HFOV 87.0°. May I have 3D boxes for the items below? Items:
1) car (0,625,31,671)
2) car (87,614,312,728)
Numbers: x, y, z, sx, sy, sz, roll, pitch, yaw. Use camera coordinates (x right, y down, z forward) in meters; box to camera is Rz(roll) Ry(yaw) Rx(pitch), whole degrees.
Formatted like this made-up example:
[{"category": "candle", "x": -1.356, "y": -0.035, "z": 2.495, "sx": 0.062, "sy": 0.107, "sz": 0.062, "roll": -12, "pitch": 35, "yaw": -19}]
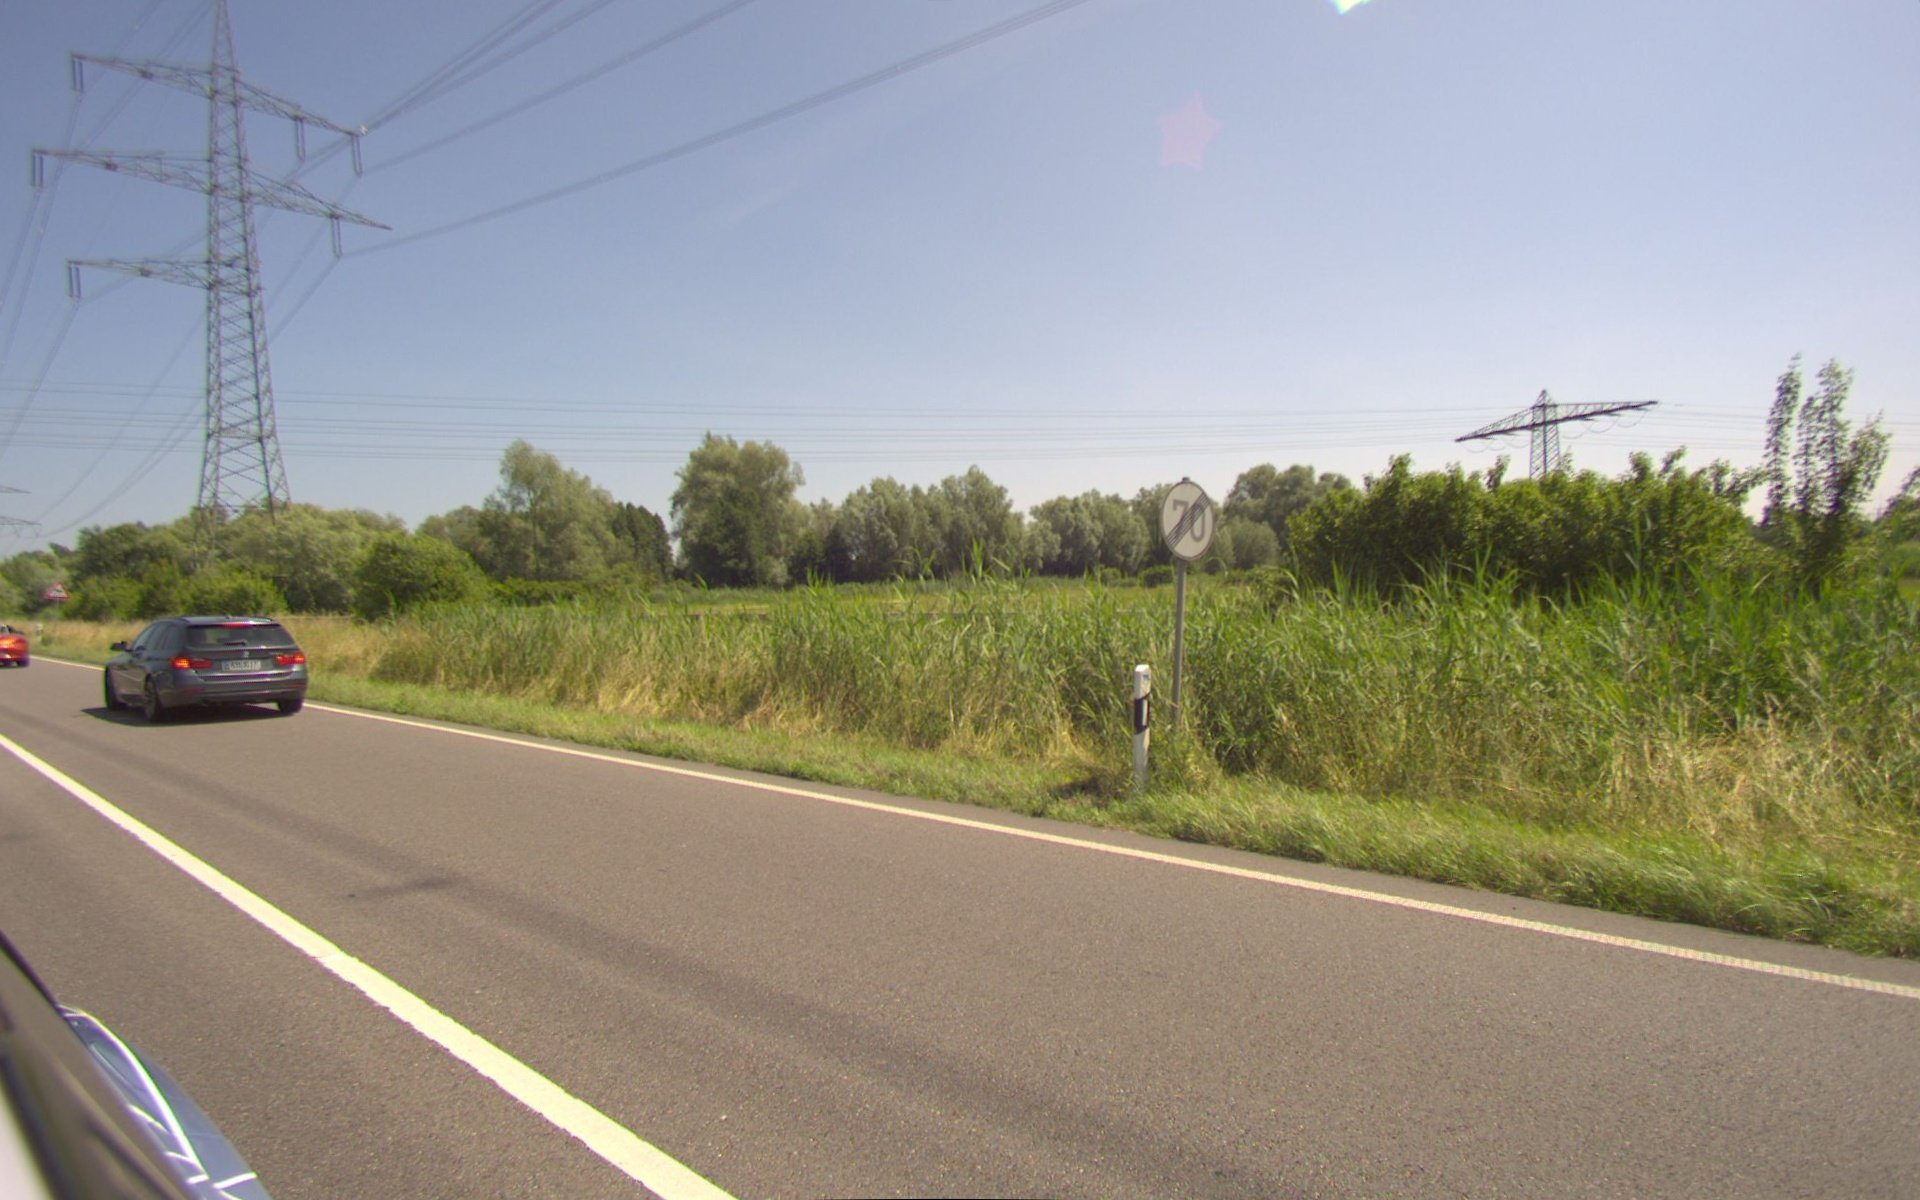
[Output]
[{"category": "car", "x": -28.063, "y": 1.351, "z": 28.794, "sx": 4.318, "sy": 1.237, "sz": 1.841, "roll": -1, "pitch": -1, "yaw": 40}, {"category": "car", "x": -11.378, "y": 0.950, "z": 15.033, "sx": 4.318, "sy": 1.444, "sz": 1.727, "roll": -1, "pitch": -1, "yaw": 40}]
